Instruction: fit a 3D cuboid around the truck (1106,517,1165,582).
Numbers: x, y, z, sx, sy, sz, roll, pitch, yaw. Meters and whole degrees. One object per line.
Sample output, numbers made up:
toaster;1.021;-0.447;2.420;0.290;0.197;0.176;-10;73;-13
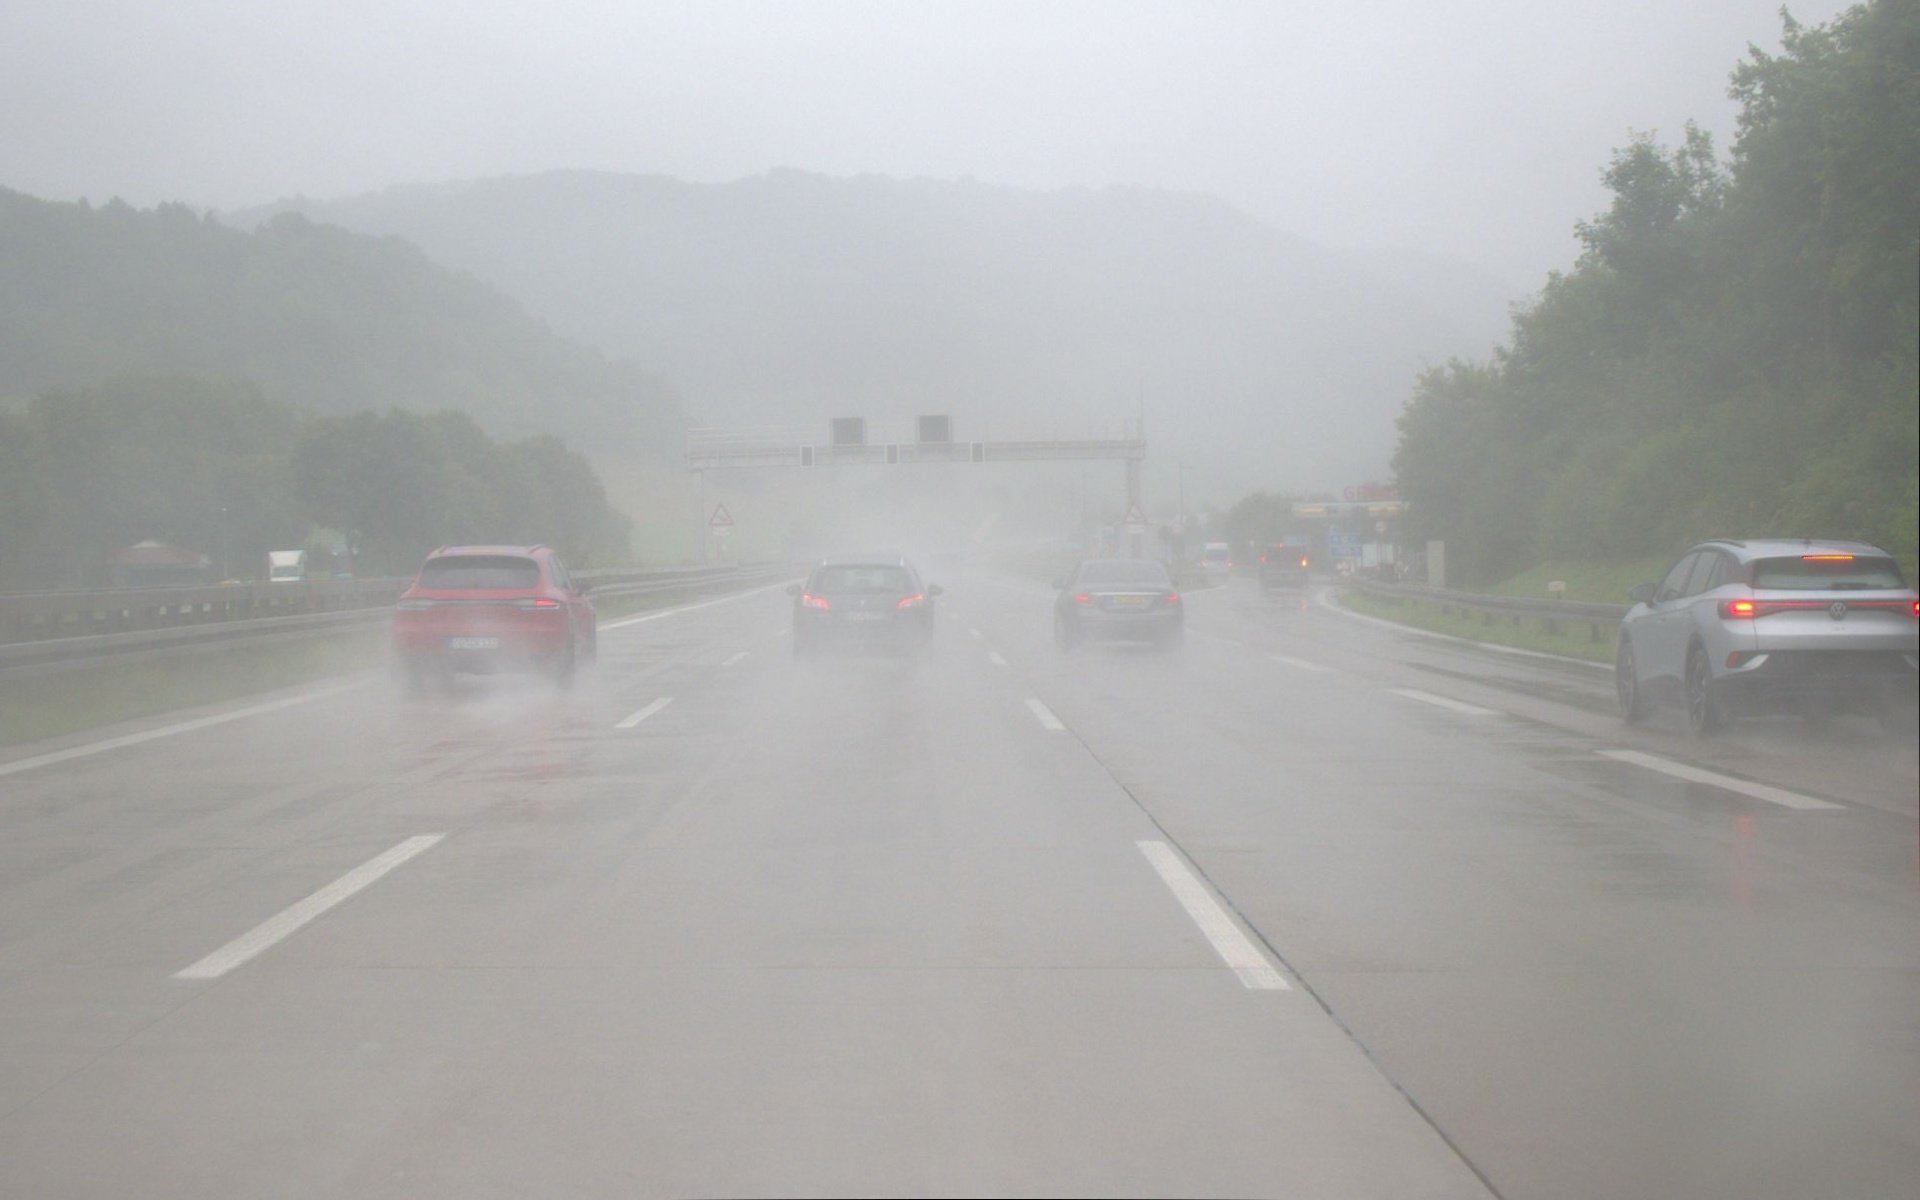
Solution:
truck;12.266;-3.578;241.656;3.401;4.387;11.049;1;1;-1

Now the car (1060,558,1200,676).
car;2.637;0.233;54.134;1.971;1.754;4.000;0;1;-1

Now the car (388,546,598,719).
car;-5.135;0.308;38.248;1.884;1.809;4.000;0;1;-2

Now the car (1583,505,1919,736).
car;6.824;0.134;29.128;1.993;1.744;5.663;1;0;-1

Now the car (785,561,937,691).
car;-1.242;0.307;44.366;1.859;1.584;4.000;1;0;-1
